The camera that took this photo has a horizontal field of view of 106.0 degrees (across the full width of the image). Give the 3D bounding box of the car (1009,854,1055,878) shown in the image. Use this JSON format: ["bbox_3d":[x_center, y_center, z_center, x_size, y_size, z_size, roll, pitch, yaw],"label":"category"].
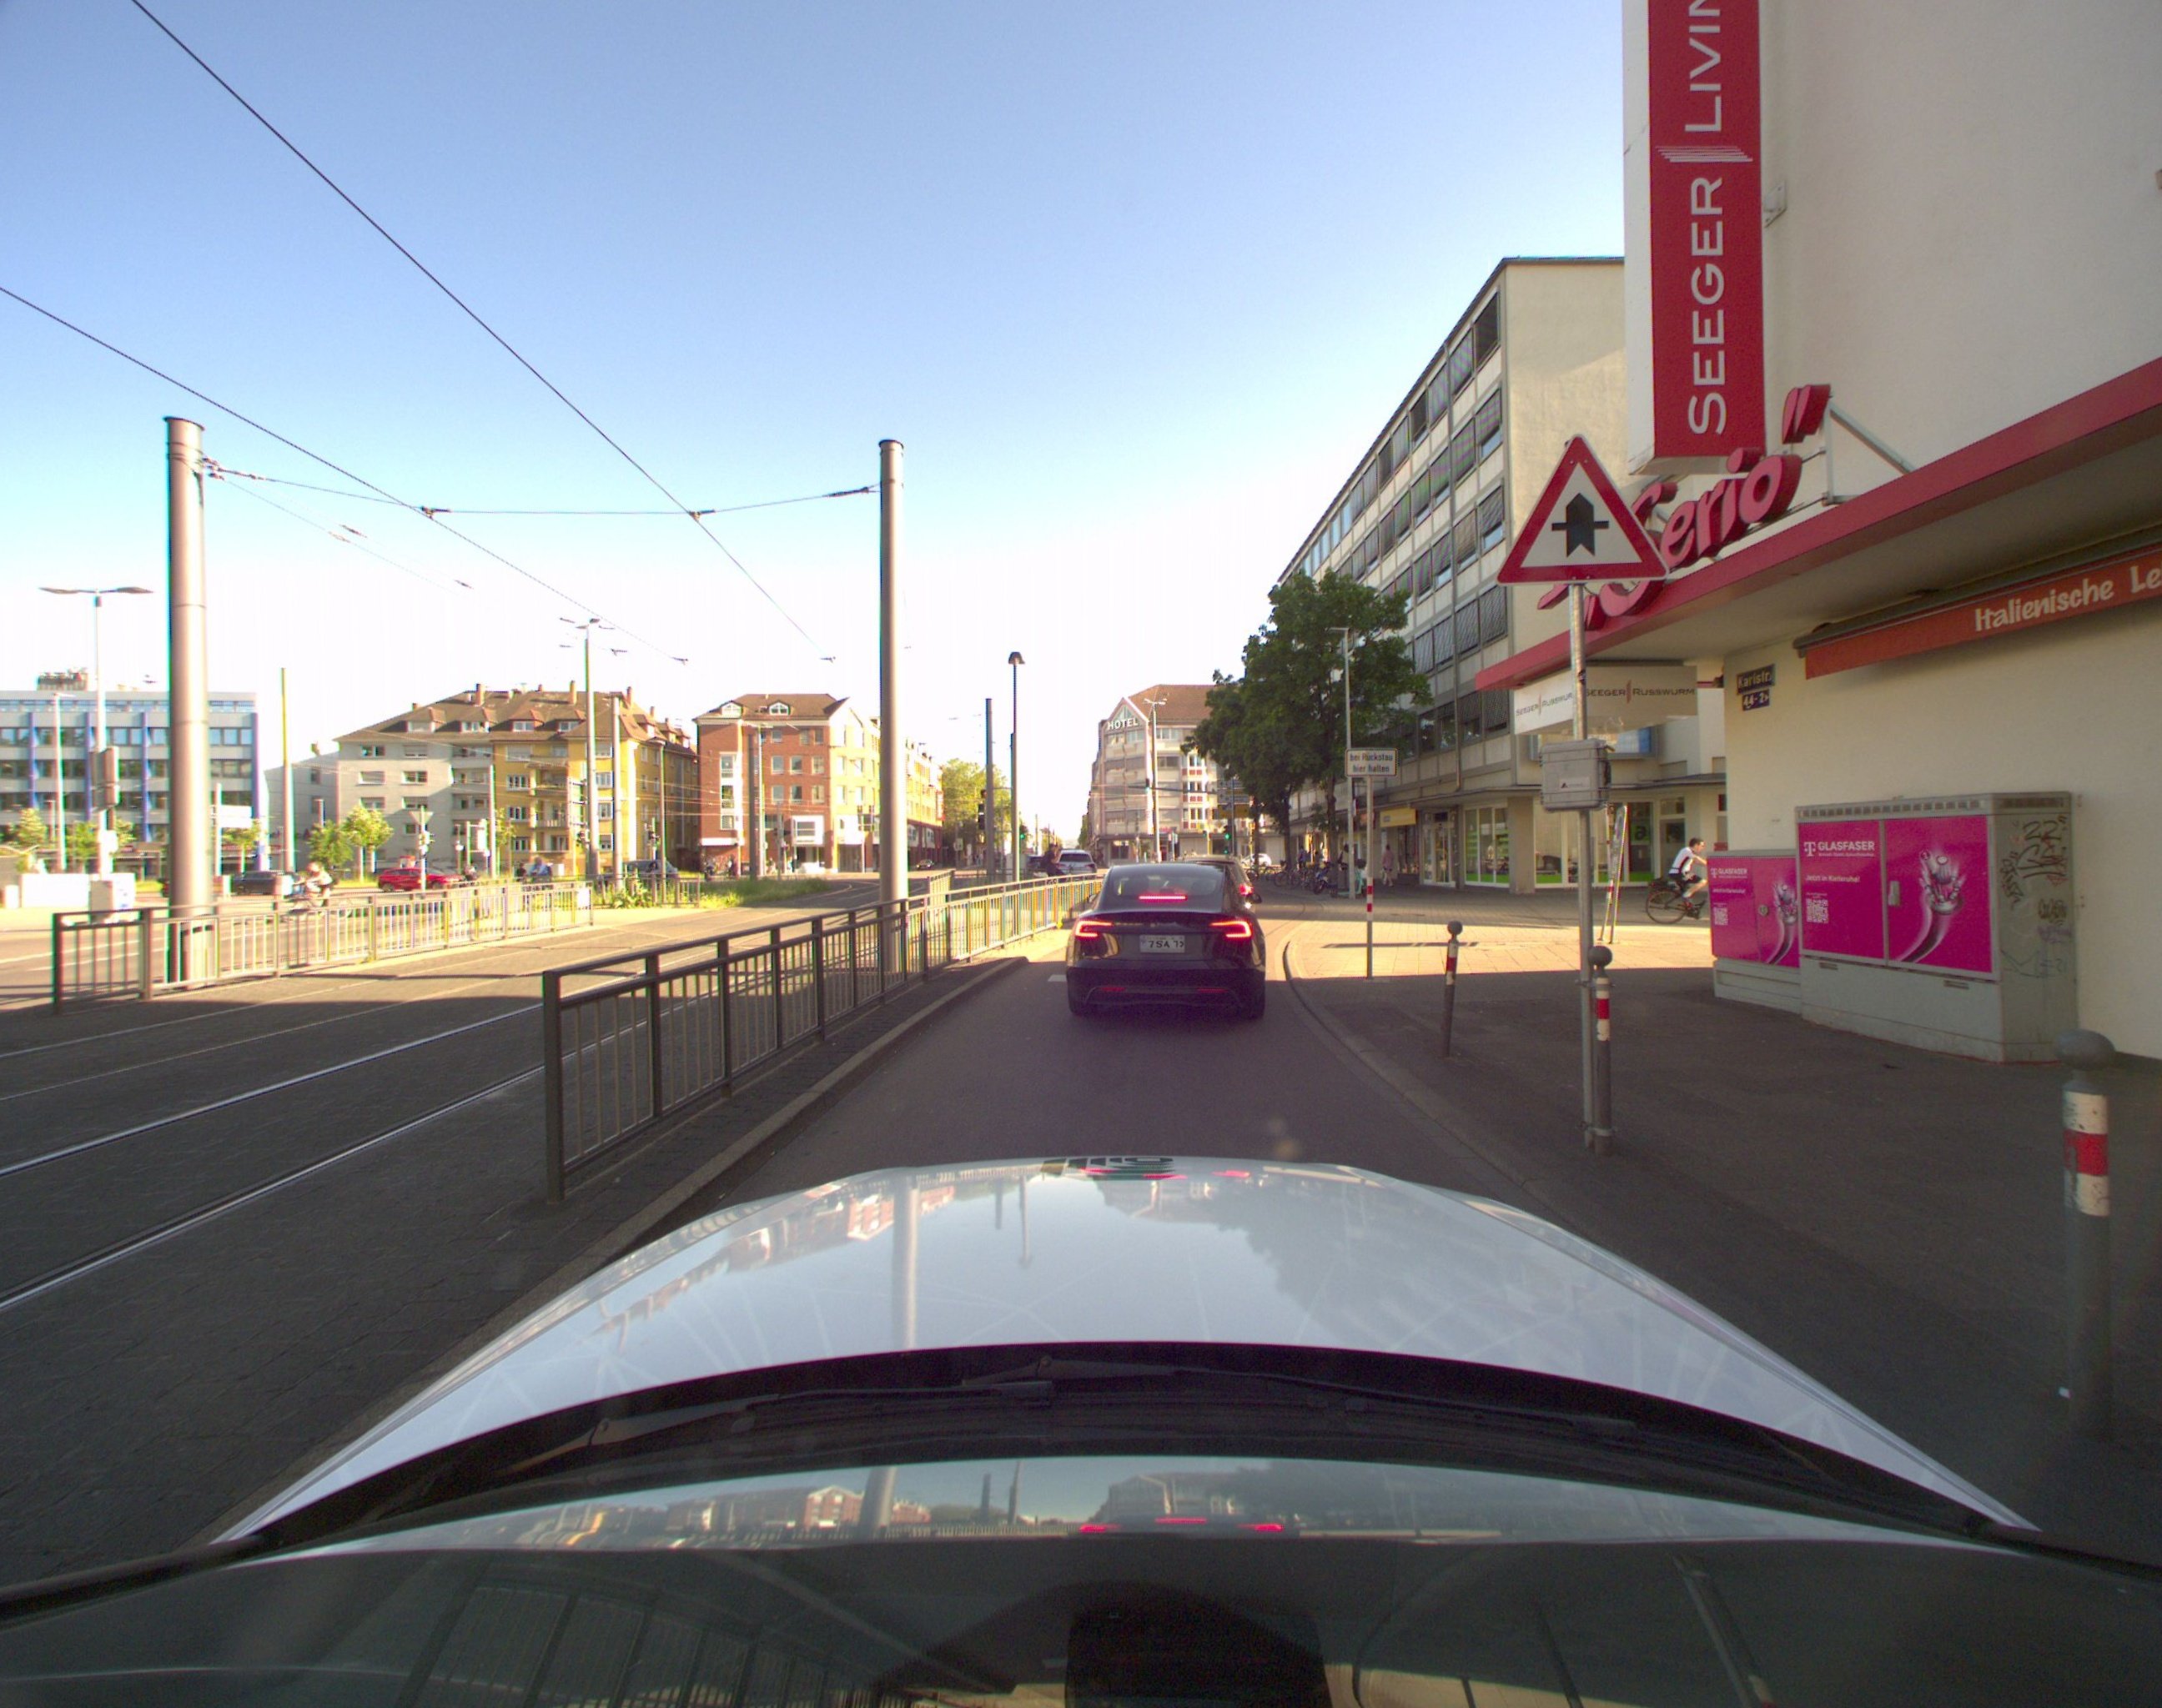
[{"bbox_3d":[-3.368,0.802,55.420,1.737,1.551,3.438,0,-1,-32],"label":"car"}]

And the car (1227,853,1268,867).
[{"bbox_3d":[17.618,0.638,86.235,3.832,1.432,1.801,-1,-2,-4],"label":"car"}]

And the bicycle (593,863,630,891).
[{"bbox_3d":[-21.702,1.047,37.700,0.527,1.214,1.887,0,-1,4],"label":"bicycle"}]

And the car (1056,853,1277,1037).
[{"bbox_3d":[0.879,0.740,8.609,1.782,1.450,3.946,0,1,5],"label":"car"}]

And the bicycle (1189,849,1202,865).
[{"bbox_3d":[10.554,0.291,75.129,0.583,1.463,1.678,-1,0,-13],"label":"bicycle"}]

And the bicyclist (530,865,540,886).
[{"bbox_3d":[-35.036,1.379,52.254,0.459,1.316,0.398,0,-1,-14],"label":"bicyclist"}]

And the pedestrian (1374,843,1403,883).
[{"bbox_3d":[12.494,0.366,33.111,0.840,1.602,0.880,0,-1,1],"label":"pedestrian"}]

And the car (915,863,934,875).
[{"bbox_3d":[-20.119,1.883,104.714,1.813,1.454,3.972,-2,0,-4],"label":"car"}]

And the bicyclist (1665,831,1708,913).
[{"bbox_3d":[12.363,0.371,16.649,0.674,1.631,0.582,-1,-1,35],"label":"bicyclist"}]

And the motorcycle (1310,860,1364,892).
[{"bbox_3d":[9.160,0.787,29.153,1.781,1.130,0.504,0,-1,-1],"label":"motorcycle"}]

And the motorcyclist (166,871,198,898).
[{"bbox_3d":[-51.769,1.749,46.899,0.919,1.524,0.781,0,-1,-5],"label":"motorcyclist"}]

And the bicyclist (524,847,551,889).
[{"bbox_3d":[-21.887,0.558,32.825,0.518,1.673,0.771,0,-1,5],"label":"bicyclist"}]

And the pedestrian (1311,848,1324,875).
[{"bbox_3d":[12.816,0.413,44.085,0.640,1.422,0.623,-1,-1,13],"label":"pedestrian"}]

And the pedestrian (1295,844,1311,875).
[{"bbox_3d":[12.143,0.301,44.548,0.837,1.721,0.883,-1,-1,14],"label":"pedestrian"}]

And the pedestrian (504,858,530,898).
[{"bbox_3d":[-27.579,1.142,39.822,0.719,1.934,0.799,0,-1,4],"label":"pedestrian"}]

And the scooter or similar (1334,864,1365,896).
[{"bbox_3d":[8.964,0.872,27.226,0.959,1.027,0.160,-1,0,4],"label":"scooter or similar"}]

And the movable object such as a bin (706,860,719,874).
[{"bbox_3d":[-39.656,1.421,87.665,0.995,1.437,1.093,0,-1,-8],"label":"movable object such as a bin"}]

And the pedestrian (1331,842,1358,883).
[{"bbox_3d":[11.267,0.373,34.839,0.840,1.707,0.880,0,-1,1],"label":"pedestrian"}]

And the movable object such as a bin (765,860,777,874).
[{"bbox_3d":[-33.637,1.402,88.291,0.995,1.437,1.093,0,-1,-8],"label":"movable object such as a bin"}]

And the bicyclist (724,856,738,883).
[{"bbox_3d":[-21.711,0.951,50.534,0.588,1.649,0.804,0,-1,-9],"label":"bicyclist"}]

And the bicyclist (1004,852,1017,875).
[{"bbox_3d":[-5.587,0.769,64.475,0.617,1.772,0.820,0,-1,-41],"label":"bicyclist"}]

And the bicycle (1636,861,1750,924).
[{"bbox_3d":[12.422,0.759,16.595,1.802,1.212,0.586,-1,-1,35],"label":"bicycle"}]

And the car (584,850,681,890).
[{"bbox_3d":[-18.651,0.634,34.093,1.678,1.560,4.124,0,-1,2],"label":"car"}]

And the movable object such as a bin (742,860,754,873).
[{"bbox_3d":[-35.998,1.347,88.049,0.995,1.437,1.093,0,-1,-8],"label":"movable object such as a bin"}]

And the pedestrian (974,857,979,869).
[{"bbox_3d":[-14.063,1.214,109.667,0.584,1.531,0.634,0,-1,-15],"label":"pedestrian"}]

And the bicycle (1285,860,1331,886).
[{"bbox_3d":[9.256,0.777,33.259,1.758,1.057,0.459,0,-1,6],"label":"bicycle"}]

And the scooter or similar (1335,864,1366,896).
[{"bbox_3d":[8.950,0.861,27.026,0.952,1.039,0.160,-1,0,4],"label":"scooter or similar"}]

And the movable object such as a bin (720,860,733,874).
[{"bbox_3d":[-38.284,1.416,87.935,0.995,1.437,1.093,0,-1,-8],"label":"movable object such as a bin"}]

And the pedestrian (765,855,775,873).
[{"bbox_3d":[-29.520,0.930,77.335,0.694,1.710,0.928,0,-1,-5],"label":"pedestrian"}]

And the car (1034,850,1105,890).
[{"bbox_3d":[-0.550,0.671,35.324,1.848,1.635,3.457,0,-1,-25],"label":"car"}]

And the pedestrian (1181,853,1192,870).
[{"bbox_3d":[9.658,0.675,74.800,0.780,1.576,0.864,0,1,-13],"label":"pedestrian"}]

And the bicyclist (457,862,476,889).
[{"bbox_3d":[-34.726,1.217,46.021,0.615,1.493,0.607,0,-1,-12],"label":"bicyclist"}]

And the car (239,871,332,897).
[{"bbox_3d":[-46.437,1.735,47.603,3.695,1.472,1.572,0,-1,-6],"label":"car"}]

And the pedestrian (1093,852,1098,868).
[{"bbox_3d":[1.667,0.699,95.059,0.624,1.782,0.918,0,-1,1],"label":"pedestrian"}]

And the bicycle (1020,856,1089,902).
[{"bbox_3d":[-0.724,0.664,22.417,1.831,1.212,0.635,0,-1,-29],"label":"bicycle"}]

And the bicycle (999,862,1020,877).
[{"bbox_3d":[-5.689,1.227,64.583,0.632,1.223,2.016,0,-1,-42],"label":"bicycle"}]

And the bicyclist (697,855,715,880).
[{"bbox_3d":[-21.903,0.787,47.565,0.661,1.454,0.731,0,-1,3],"label":"bicyclist"}]

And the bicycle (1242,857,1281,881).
[{"bbox_3d":[9.377,0.753,42.302,1.882,1.156,0.480,-2,-1,2],"label":"bicycle"}]

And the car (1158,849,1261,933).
[{"bbox_3d":[2.501,0.639,16.468,1.755,1.444,4.537,0,0,7],"label":"car"}]

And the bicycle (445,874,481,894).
[{"bbox_3d":[-34.881,1.689,45.985,1.497,1.133,0.609,0,-1,-13],"label":"bicycle"}]

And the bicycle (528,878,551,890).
[{"bbox_3d":[-34.787,1.943,52.284,1.174,0.764,0.318,0,-1,-15],"label":"bicycle"}]

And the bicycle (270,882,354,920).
[{"bbox_3d":[-22.132,1.332,23.478,0.527,1.013,1.899,0,-1,4],"label":"bicycle"}]

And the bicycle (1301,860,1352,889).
[{"bbox_3d":[9.419,0.777,31.251,1.850,1.056,0.398,-2,0,-10],"label":"bicycle"}]

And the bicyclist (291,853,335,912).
[{"bbox_3d":[-22.130,0.802,23.478,0.522,1.673,0.771,0,-1,4],"label":"bicyclist"}]

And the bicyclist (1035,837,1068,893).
[{"bbox_3d":[-0.814,0.304,22.376,0.685,1.523,0.629,0,-1,-29],"label":"bicyclist"}]

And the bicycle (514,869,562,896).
[{"bbox_3d":[-21.892,1.143,32.885,0.527,1.013,1.888,0,-1,5],"label":"bicycle"}]

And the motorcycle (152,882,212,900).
[{"bbox_3d":[-51.750,2.100,46.902,2.355,0.984,0.790,0,-1,-6],"label":"motorcycle"}]

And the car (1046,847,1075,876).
[{"bbox_3d":[-1.202,0.433,47.250,1.569,1.618,3.779,0,-1,-3],"label":"car"}]

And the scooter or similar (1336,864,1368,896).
[{"bbox_3d":[8.935,0.847,26.828,0.959,1.043,0.160,-1,0,4],"label":"scooter or similar"}]

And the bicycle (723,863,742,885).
[{"bbox_3d":[-21.738,1.227,50.778,0.573,1.291,2.021,0,-1,-8],"label":"bicycle"}]

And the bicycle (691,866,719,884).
[{"bbox_3d":[-21.906,1.219,47.531,0.647,1.013,1.887,0,-1,4],"label":"bicycle"}]

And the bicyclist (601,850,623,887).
[{"bbox_3d":[-21.715,0.668,37.720,0.518,1.673,0.771,0,-1,3],"label":"bicyclist"}]

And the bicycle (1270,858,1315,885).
[{"bbox_3d":[9.174,0.750,35.299,1.805,1.151,0.435,-1,-1,-3],"label":"bicycle"}]

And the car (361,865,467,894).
[{"bbox_3d":[-39.502,1.487,48.332,4.548,1.509,1.777,-2,0,-9],"label":"car"}]
